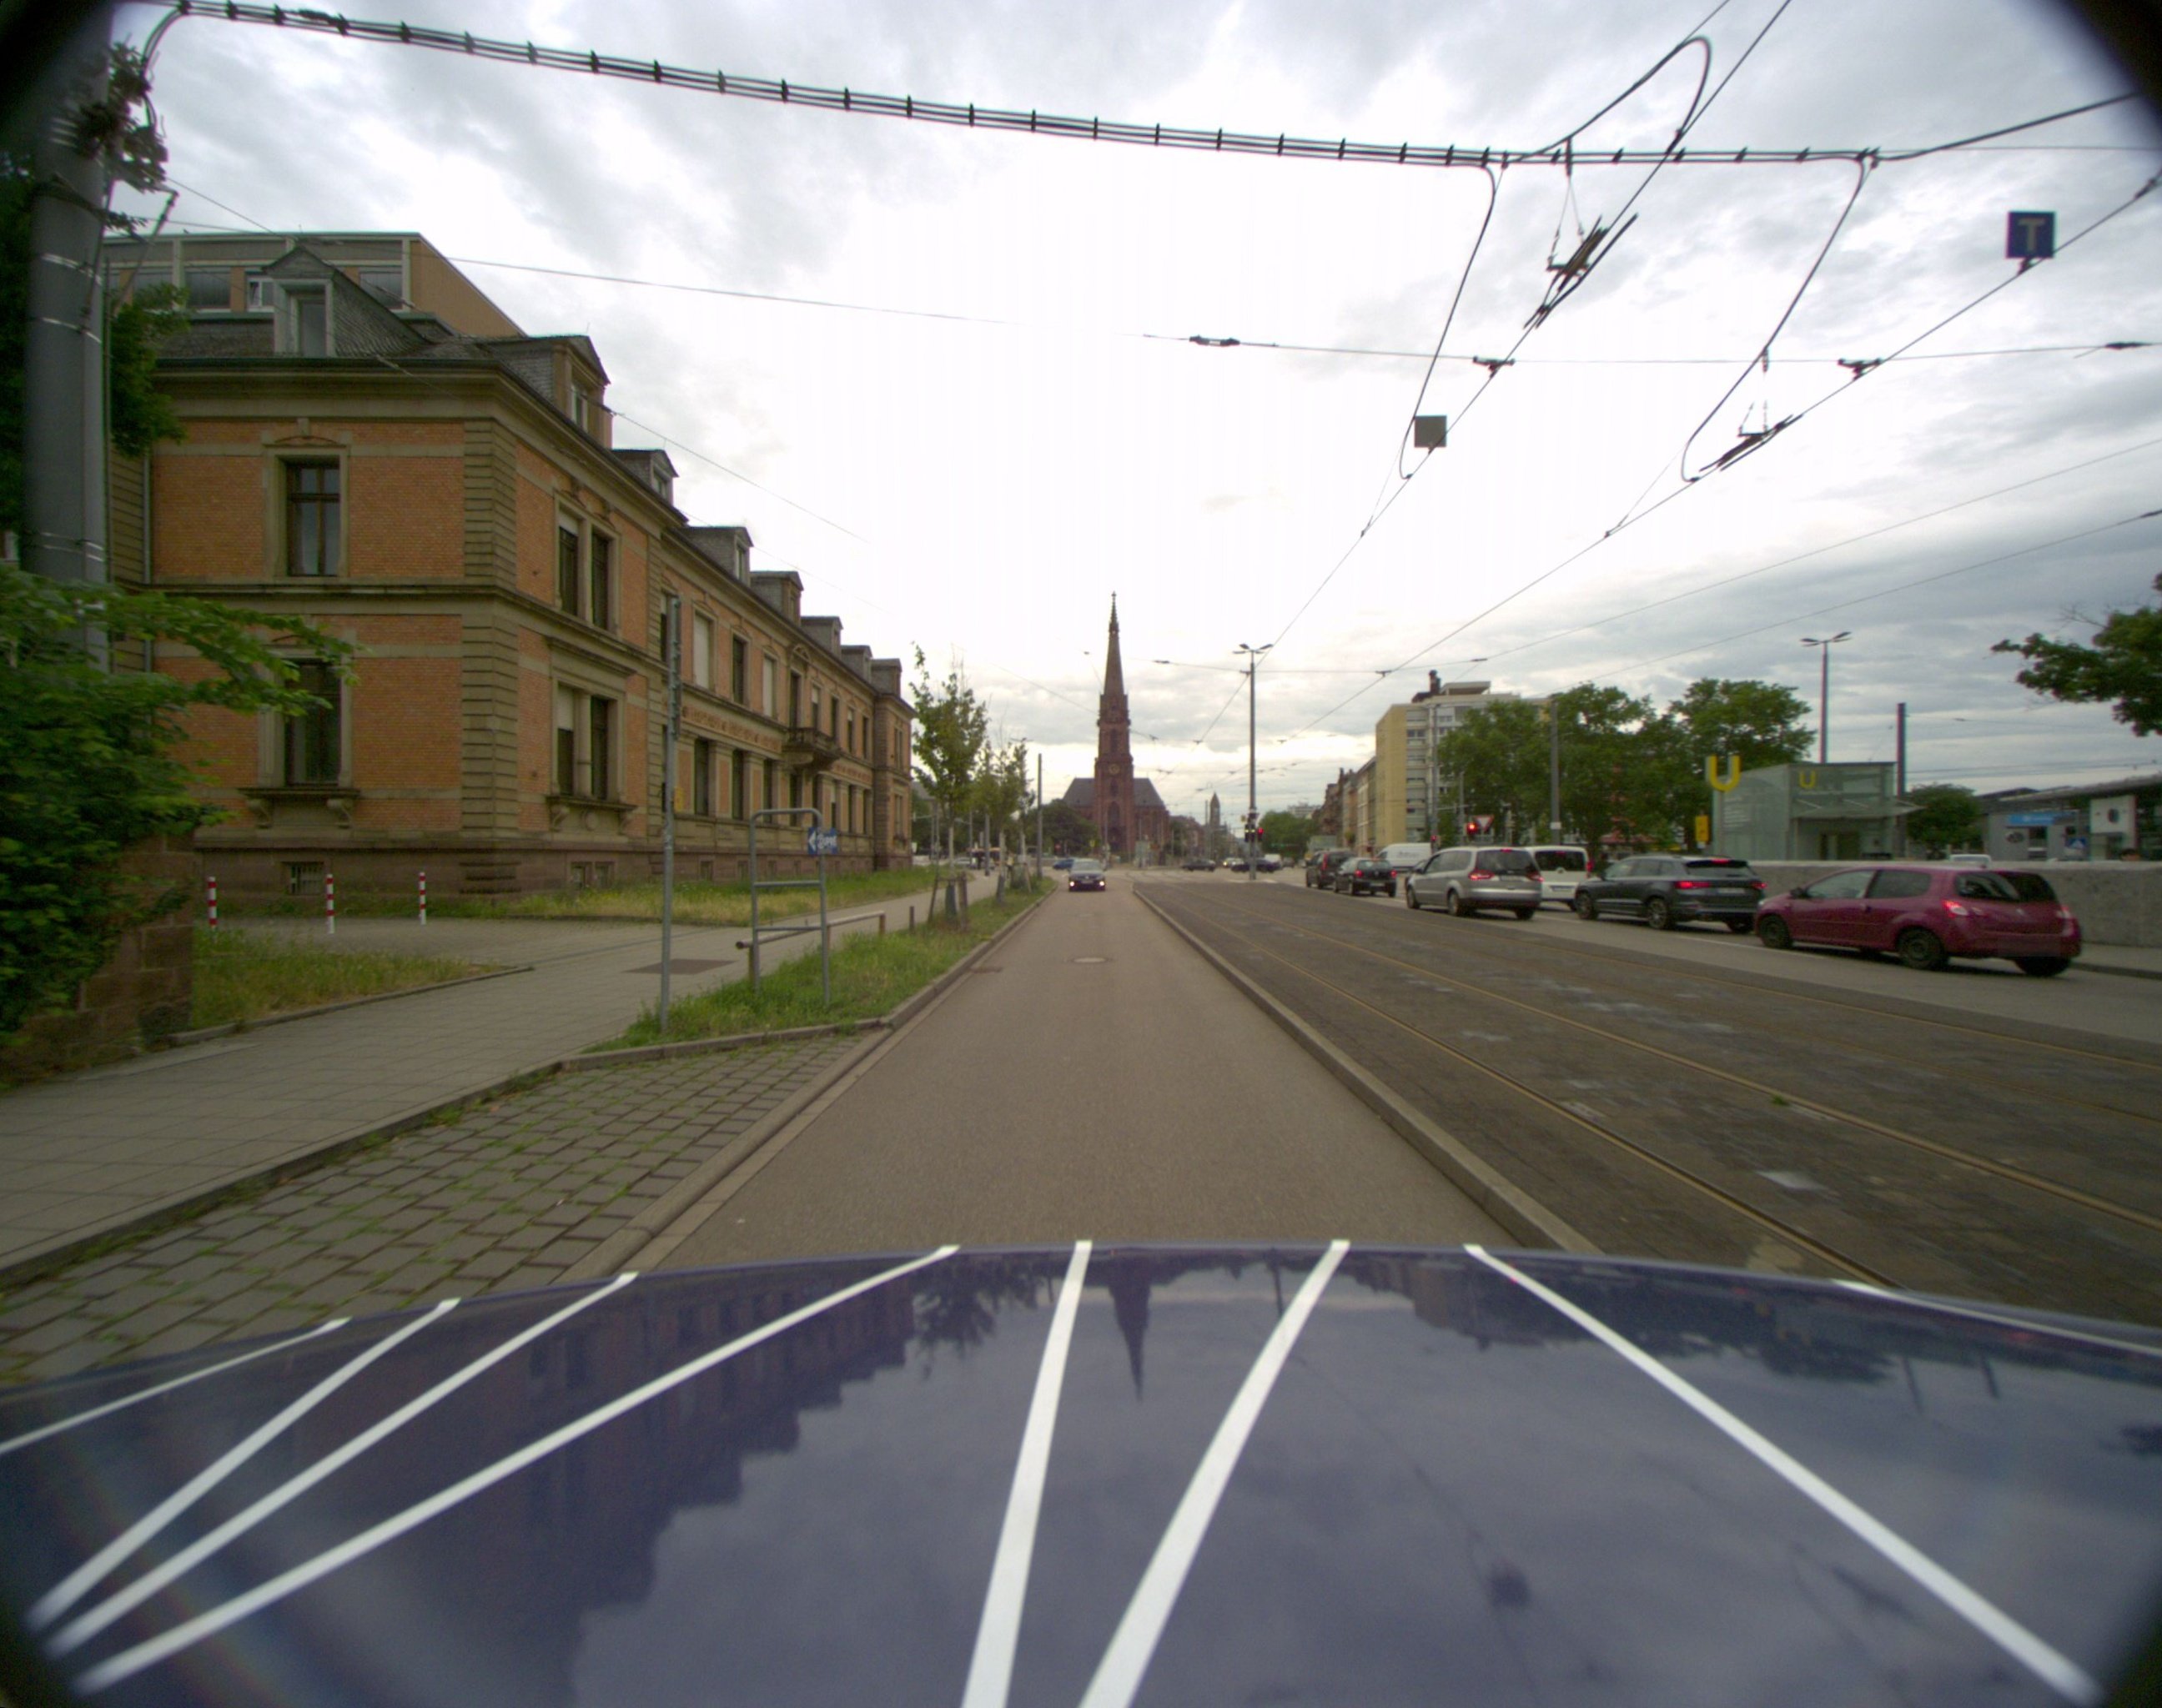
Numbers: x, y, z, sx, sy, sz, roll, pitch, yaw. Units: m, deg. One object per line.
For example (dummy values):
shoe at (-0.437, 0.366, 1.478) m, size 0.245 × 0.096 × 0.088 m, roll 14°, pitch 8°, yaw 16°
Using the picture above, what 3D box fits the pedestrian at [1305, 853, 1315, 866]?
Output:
pedestrian at (30.364, 0.751, 100.787) m, size 1.178 × 1.774 × 1.041 m, roll 0°, pitch 0°, yaw 9°

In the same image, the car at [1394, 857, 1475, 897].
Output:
car at (14.039, 0.877, 30.422) m, size 1.692 × 1.433 × 4.001 m, roll 0°, pitch 0°, yaw 5°

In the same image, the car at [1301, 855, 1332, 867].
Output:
car at (35.901, 0.994, 115.861) m, size 4.004 × 1.745 × 2.077 m, roll -1°, pitch 1°, yaw -21°

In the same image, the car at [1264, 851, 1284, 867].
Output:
car at (23.970, 0.599, 94.261) m, size 1.919 × 1.871 × 5.095 m, roll 0°, pitch 2°, yaw 20°

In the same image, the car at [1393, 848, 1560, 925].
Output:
car at (9.929, 0.731, 19.602) m, size 1.867 × 1.696 × 4.910 m, roll 1°, pitch 0°, yaw 2°

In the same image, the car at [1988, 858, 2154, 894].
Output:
car at (54.078, 1.141, 41.634) m, size 2.168 × 1.845 × 5.433 m, roll 0°, pitch 0°, yaw -35°

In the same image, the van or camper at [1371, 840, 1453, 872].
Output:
van or camper at (28.370, 0.148, 65.230) m, size 6.033 × 2.596 × 2.428 m, roll 1°, pitch 2°, yaw 42°

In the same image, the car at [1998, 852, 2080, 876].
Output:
car at (83.688, 0.869, 66.470) m, size 3.988 × 2.002 × 2.004 m, roll 0°, pitch 2°, yaw 34°

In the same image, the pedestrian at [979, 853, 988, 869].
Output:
pedestrian at (-11.214, 0.795, 87.663) m, size 0.782 × 1.932 × 0.980 m, roll 0°, pitch 0°, yaw -22°

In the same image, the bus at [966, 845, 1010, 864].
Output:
bus at (-16.055, -0.047, 129.981) m, size 2.869 × 3.060 × 11.989 m, roll -1°, pitch 1°, yaw -30°

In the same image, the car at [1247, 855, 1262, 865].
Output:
car at (25.906, 0.853, 113.638) m, size 1.997 × 1.433 × 4.003 m, roll 0°, pitch 0°, yaw 11°

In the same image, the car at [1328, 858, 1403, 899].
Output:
car at (10.757, 0.876, 28.995) m, size 1.692 × 1.433 × 4.001 m, roll 0°, pitch 0°, yaw 5°

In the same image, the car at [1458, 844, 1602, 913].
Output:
car at (13.633, 0.672, 23.477) m, size 1.867 × 1.905 × 5.103 m, roll 0°, pitch 0°, yaw 6°

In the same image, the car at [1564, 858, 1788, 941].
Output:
car at (12.898, 0.887, 16.890) m, size 1.867 × 1.525 × 4.304 m, roll 2°, pitch 0°, yaw 6°

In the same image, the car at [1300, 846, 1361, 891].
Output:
car at (11.319, 0.612, 34.704) m, size 1.692 × 1.889 × 4.388 m, roll 0°, pitch 0°, yaw 5°

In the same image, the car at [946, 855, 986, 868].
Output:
car at (-14.760, 0.964, 97.755) m, size 4.669 × 1.484 × 2.004 m, roll -1°, pitch -2°, yaw 18°

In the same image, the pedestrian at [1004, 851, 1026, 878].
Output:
pedestrian at (-4.610, 0.734, 52.885) m, size 1.283 × 1.856 × 0.889 m, roll 0°, pitch 1°, yaw 34°

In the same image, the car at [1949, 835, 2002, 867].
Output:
car at (58.967, -0.231, 50.124) m, size 1.766 × 2.002 × 4.008 m, roll 1°, pitch 2°, yaw 43°

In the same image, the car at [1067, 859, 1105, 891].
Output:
car at (0.224, 0.940, 35.370) m, size 1.655 × 1.404 × 4.000 m, roll 0°, pitch 0°, yaw 0°

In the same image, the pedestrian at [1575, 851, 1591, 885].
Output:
pedestrian at (25.877, 0.710, 39.189) m, size 0.601 × 1.718 × 0.914 m, roll 0°, pitch 1°, yaw 27°

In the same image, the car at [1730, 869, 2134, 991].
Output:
car at (12.343, 0.987, 11.500) m, size 1.867 × 1.391 × 3.896 m, roll 2°, pitch 0°, yaw 5°

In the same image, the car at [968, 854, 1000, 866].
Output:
car at (-11.907, 0.702, 93.473) m, size 3.616 × 1.484 × 2.001 m, roll 0°, pitch 1°, yaw 6°

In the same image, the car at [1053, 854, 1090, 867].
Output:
car at (-1.136, 0.753, 90.994) m, size 4.050 × 1.484 × 2.003 m, roll -1°, pitch -1°, yaw 16°

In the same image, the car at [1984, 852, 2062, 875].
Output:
car at (85.016, 0.846, 68.631) m, size 3.988 × 2.002 × 2.004 m, roll 0°, pitch 2°, yaw 34°

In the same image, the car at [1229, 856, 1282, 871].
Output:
car at (16.978, 0.923, 74.139) m, size 4.648 × 1.412 × 2.004 m, roll 0°, pitch 0°, yaw 43°

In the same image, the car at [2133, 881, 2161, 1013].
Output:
car at (12.156, 1.021, 5.970) m, size 1.751 × 1.372 × 4.362 m, roll 3°, pitch 0°, yaw 2°

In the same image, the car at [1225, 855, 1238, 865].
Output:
car at (22.623, 0.907, 114.347) m, size 1.997 × 1.433 × 4.003 m, roll 0°, pitch 0°, yaw 11°

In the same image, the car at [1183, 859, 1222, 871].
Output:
car at (12.911, 1.106, 80.882) m, size 3.727 × 1.239 × 1.695 m, roll 0°, pitch 0°, yaw 28°
